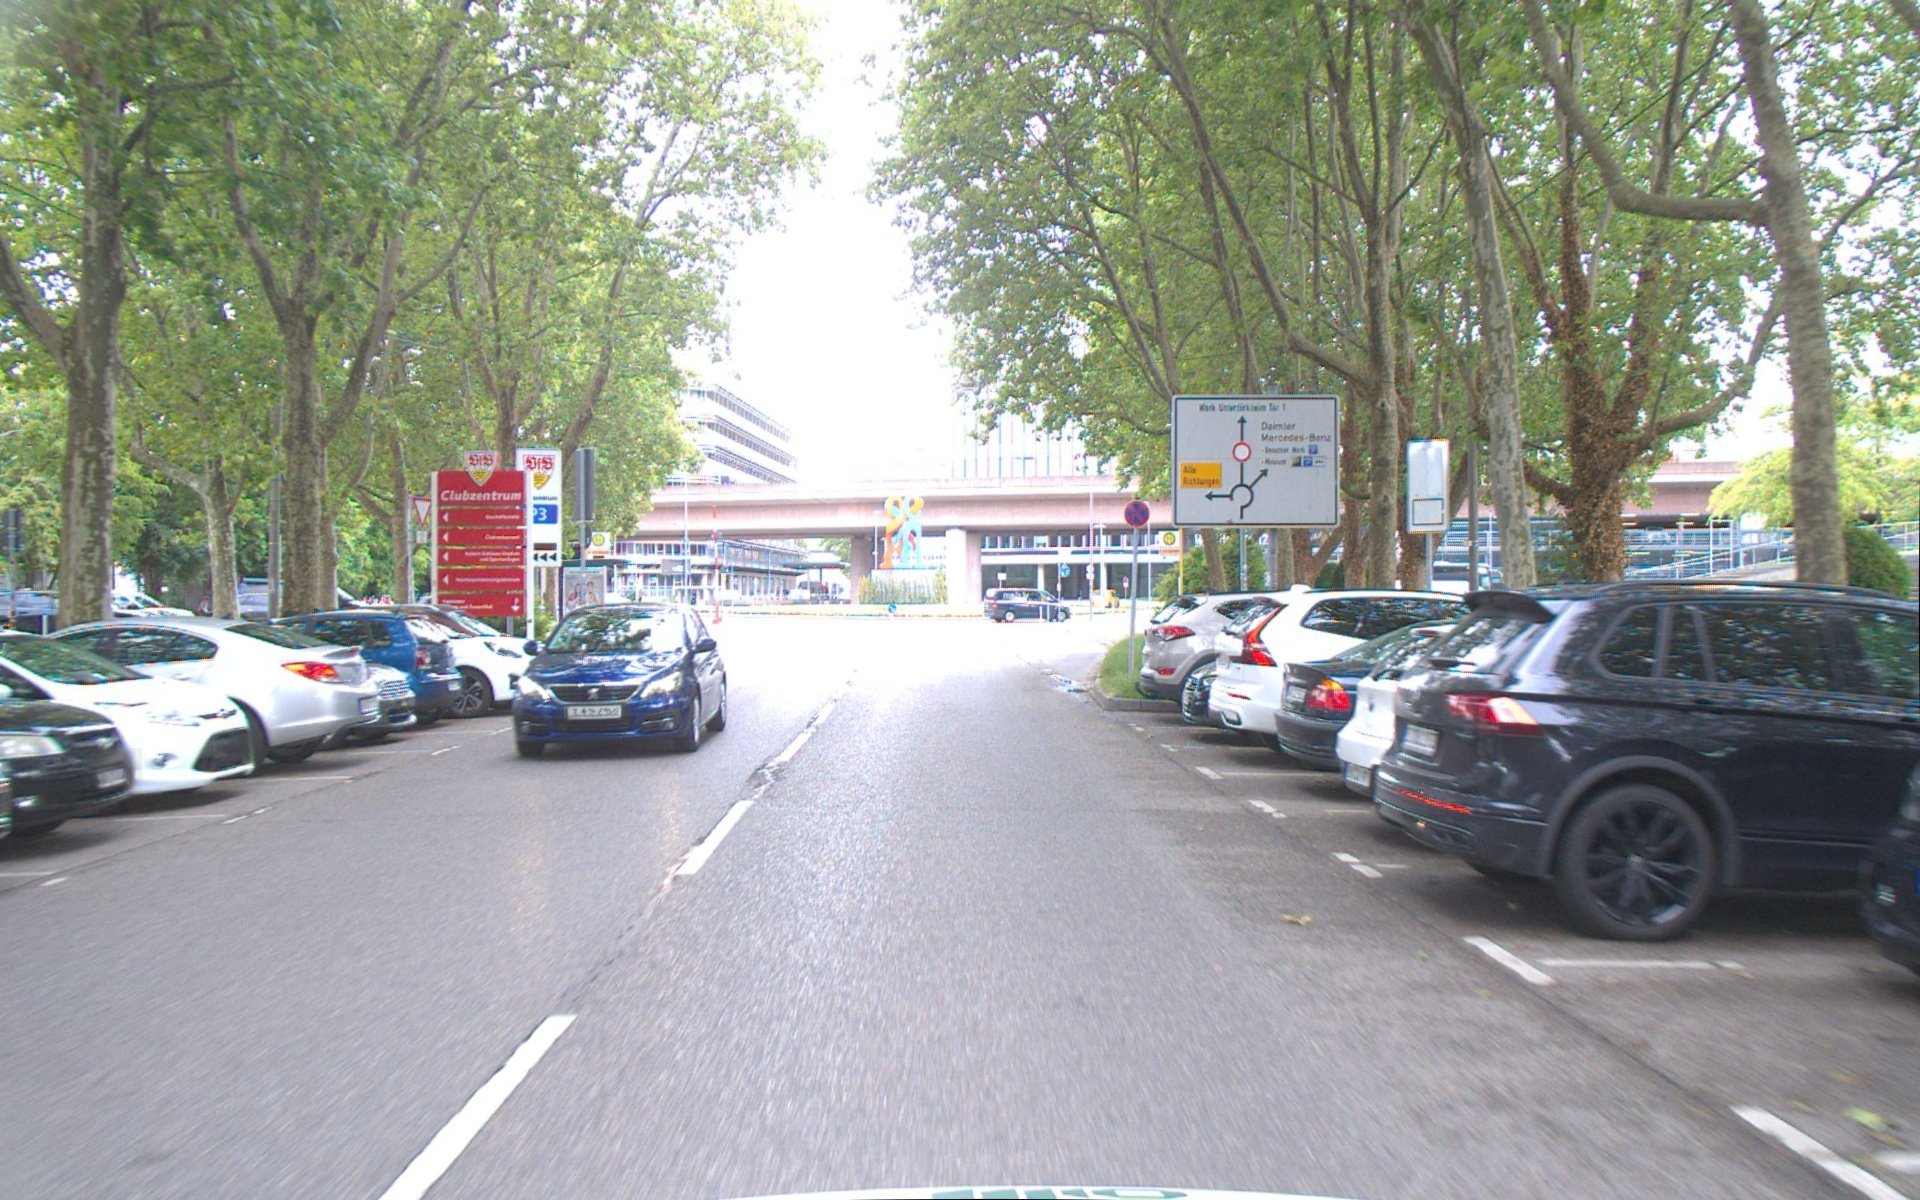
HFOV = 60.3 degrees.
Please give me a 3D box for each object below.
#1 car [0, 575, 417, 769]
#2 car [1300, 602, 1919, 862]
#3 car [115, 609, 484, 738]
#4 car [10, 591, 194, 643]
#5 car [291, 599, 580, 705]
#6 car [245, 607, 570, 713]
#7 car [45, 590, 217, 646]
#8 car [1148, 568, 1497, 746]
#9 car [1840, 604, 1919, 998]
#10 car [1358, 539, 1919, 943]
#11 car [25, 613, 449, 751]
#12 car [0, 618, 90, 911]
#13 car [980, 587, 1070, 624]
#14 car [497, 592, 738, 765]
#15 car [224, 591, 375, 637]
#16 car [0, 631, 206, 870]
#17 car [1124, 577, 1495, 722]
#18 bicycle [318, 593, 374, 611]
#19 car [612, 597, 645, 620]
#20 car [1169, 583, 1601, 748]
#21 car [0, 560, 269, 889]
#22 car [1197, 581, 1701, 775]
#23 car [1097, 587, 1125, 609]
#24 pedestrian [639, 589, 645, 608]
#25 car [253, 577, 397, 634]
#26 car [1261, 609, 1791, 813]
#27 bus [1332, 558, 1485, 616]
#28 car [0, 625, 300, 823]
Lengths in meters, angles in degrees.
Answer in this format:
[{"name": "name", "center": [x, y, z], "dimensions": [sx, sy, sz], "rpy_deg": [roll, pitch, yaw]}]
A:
[{"name": "car", "center": [-7.606, 0.673, 15.780], "dimensions": [4.179, 1.575, 1.907], "rpy_deg": [-3, 0, -3]}, {"name": "car", "center": [4.604, 0.810, 10.925], "dimensions": [4.259, 1.481, 1.948], "rpy_deg": [1, 1, -3]}, {"name": "car", "center": [-8.240, 0.895, 20.902], "dimensions": [3.913, 1.520, 1.832], "rpy_deg": [0, 0, -2]}, {"name": "car", "center": [-23.200, 0.459, 44.843], "dimensions": [3.906, 1.347, 2.001], "rpy_deg": [0, 0, -2]}, {"name": "car", "center": [-8.117, 0.793, 25.851], "dimensions": [3.912, 1.567, 1.805], "rpy_deg": [0, 0, 0]}, {"name": "car", "center": [-7.746, 0.820, 23.448], "dimensions": [3.910, 1.409, 1.912], "rpy_deg": [0, 0, 2]}, {"name": "car", "center": [-23.756, 0.503, 47.526], "dimensions": [3.906, 1.549, 2.001], "rpy_deg": [0, 0, -1]}, {"name": "car", "center": [4.447, 0.673, 20.777], "dimensions": [3.906, 2.049, 2.000], "rpy_deg": [1, 1, -1]}, {"name": "car", "center": [5.392, 0.743, 6.127], "dimensions": [3.365, 1.518, 1.680], "rpy_deg": [-1, 0, -2]}, {"name": "car", "center": [4.439, 0.668, 8.529], "dimensions": [4.259, 1.791, 1.924], "rpy_deg": [1, 0, -3]}, {"name": "car", "center": [-7.964, 0.883, 18.512], "dimensions": [3.906, 1.430, 1.861], "rpy_deg": [0, 0, -2]}, {"name": "car", "center": [-6.945, 0.956, 8.269], "dimensions": [4.044, 1.477, 2.013], "rpy_deg": [-3, 1, 0]}, {"name": "car", "center": [3.724, 0.294, 94.536], "dimensions": [4.692, 2.049, 2.273], "rpy_deg": [1, 0, -17]}, {"name": "car", "center": [-3.442, 0.729, 17.332], "dimensions": [1.805, 1.536, 4.013], "rpy_deg": [-2, 0, -3]}, {"name": "car", "center": [-23.612, 0.518, 59.224], "dimensions": [4.530, 1.595, 2.109], "rpy_deg": [0, -1, 1]}, {"name": "car", "center": [-7.381, 0.903, 10.683], "dimensions": [4.106, 1.378, 1.966], "rpy_deg": [0, 0, -4]}, {"name": "car", "center": [4.314, 0.589, 20.909], "dimensions": [4.258, 1.662, 1.925], "rpy_deg": [1, 1, -1]}, {"name": "bicycle", "center": [-37.280, 0.121, 100.473], "dimensions": [3.131, 1.116, 0.769], "rpy_deg": [1, 0, -17]}, {"name": "car", "center": [-22.801, 0.580, 113.828], "dimensions": [1.865, 1.478, 4.807], "rpy_deg": [-2, 1, -7]}, {"name": "car", "center": [4.579, 0.679, 18.295], "dimensions": [4.258, 1.633, 1.925], "rpy_deg": [1, 1, -1]}, {"name": "car", "center": [-6.842, 0.761, 10.287], "dimensions": [4.230, 1.841, 1.867], "rpy_deg": [-2, 0, -1]}, {"name": "car", "center": [4.573, 0.699, 15.937], "dimensions": [4.258, 1.662, 1.925], "rpy_deg": [1, 1, -1]}, {"name": "car", "center": [14.586, -0.188, 159.240], "dimensions": [1.951, 2.049, 4.002], "rpy_deg": [0, 0, 16]}, {"name": "pedestrian", "center": [-35.298, -0.142, 183.543], "dimensions": [0.578, 2.049, 0.597], "rpy_deg": [1, -1, -13]}, {"name": "car", "center": [-23.825, 0.203, 62.184], "dimensions": [4.521, 2.061, 2.263], "rpy_deg": [0, 0, 1]}, {"name": "car", "center": [4.459, 0.849, 13.415], "dimensions": [3.656, 1.427, 1.775], "rpy_deg": [2, 0, -2]}, {"name": "bus", "center": [31.954, -0.874, 117.689], "dimensions": [10.881, 4.003, 2.743], "rpy_deg": [1, 0, -19]}, {"name": "car", "center": [-7.590, 0.930, 13.157], "dimensions": [3.907, 1.429, 1.884], "rpy_deg": [0, 0, -3]}]
